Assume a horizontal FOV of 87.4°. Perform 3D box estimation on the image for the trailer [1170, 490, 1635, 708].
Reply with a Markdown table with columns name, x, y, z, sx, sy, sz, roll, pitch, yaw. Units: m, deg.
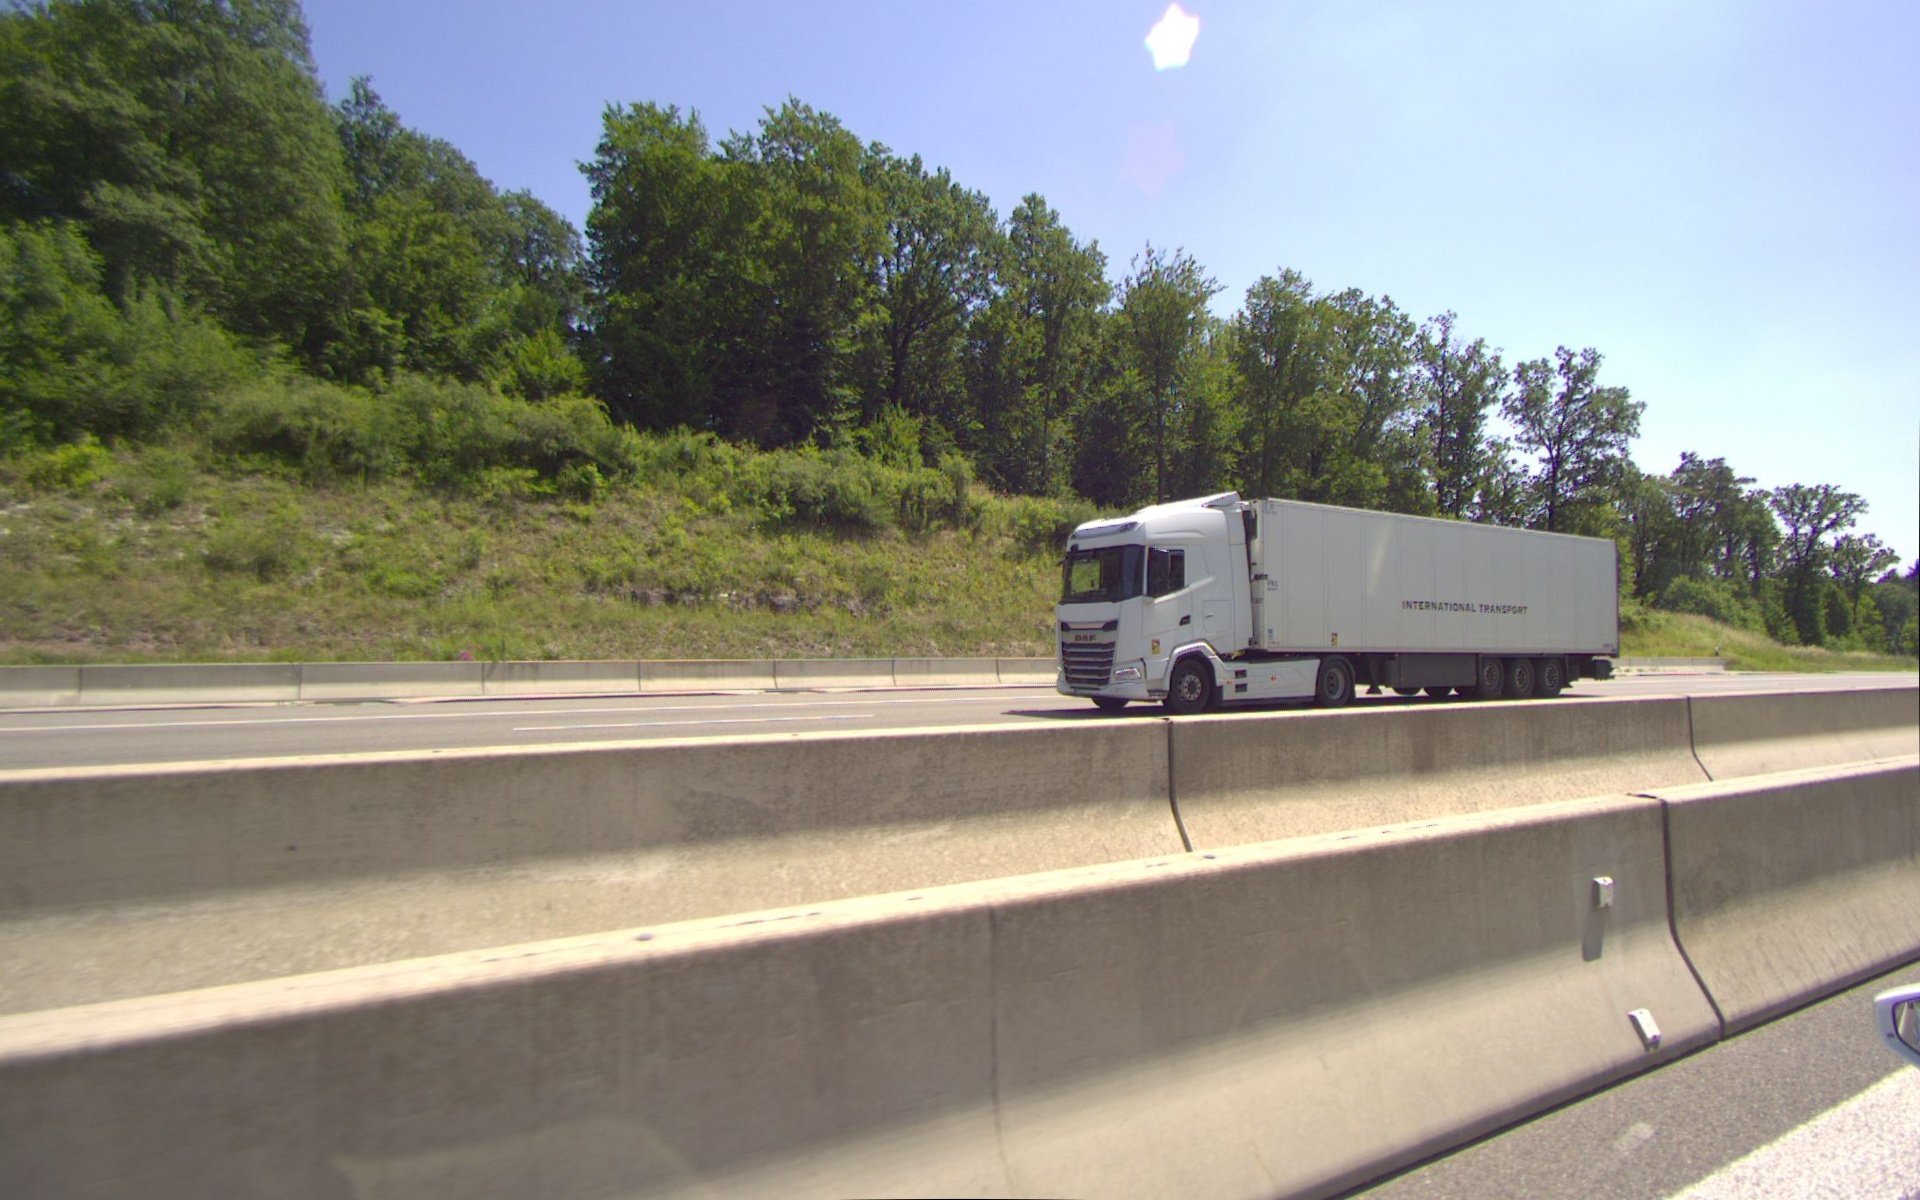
| name | x | y | z | sx | sy | sz | roll | pitch | yaw |
| --- | --- | --- | --- | --- | --- | --- | --- | --- | --- |
| trailer | 11.064 | 0.214 | 23.939 | 13.684 | 4.137 | 2.910 | 2 | -3 | -32 |

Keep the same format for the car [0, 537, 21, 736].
| name | x | y | z | sx | sy | sz | roll | pitch | yaw |
| --- | --- | --- | --- | --- | --- | --- | --- | --- | --- |
| car | -15.773 | 0.409 | 11.670 | 6.700 | 2.698 | 2.131 | 2 | -3 | -31 |

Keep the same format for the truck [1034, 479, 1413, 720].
| name | x | y | z | sx | sy | sz | roll | pitch | yaw |
| --- | --- | --- | --- | --- | --- | --- | --- | --- | --- |
| truck | 5.463 | 0.116 | 20.377 | 7.699 | 4.122 | 2.881 | 1 | -3 | -31 |
